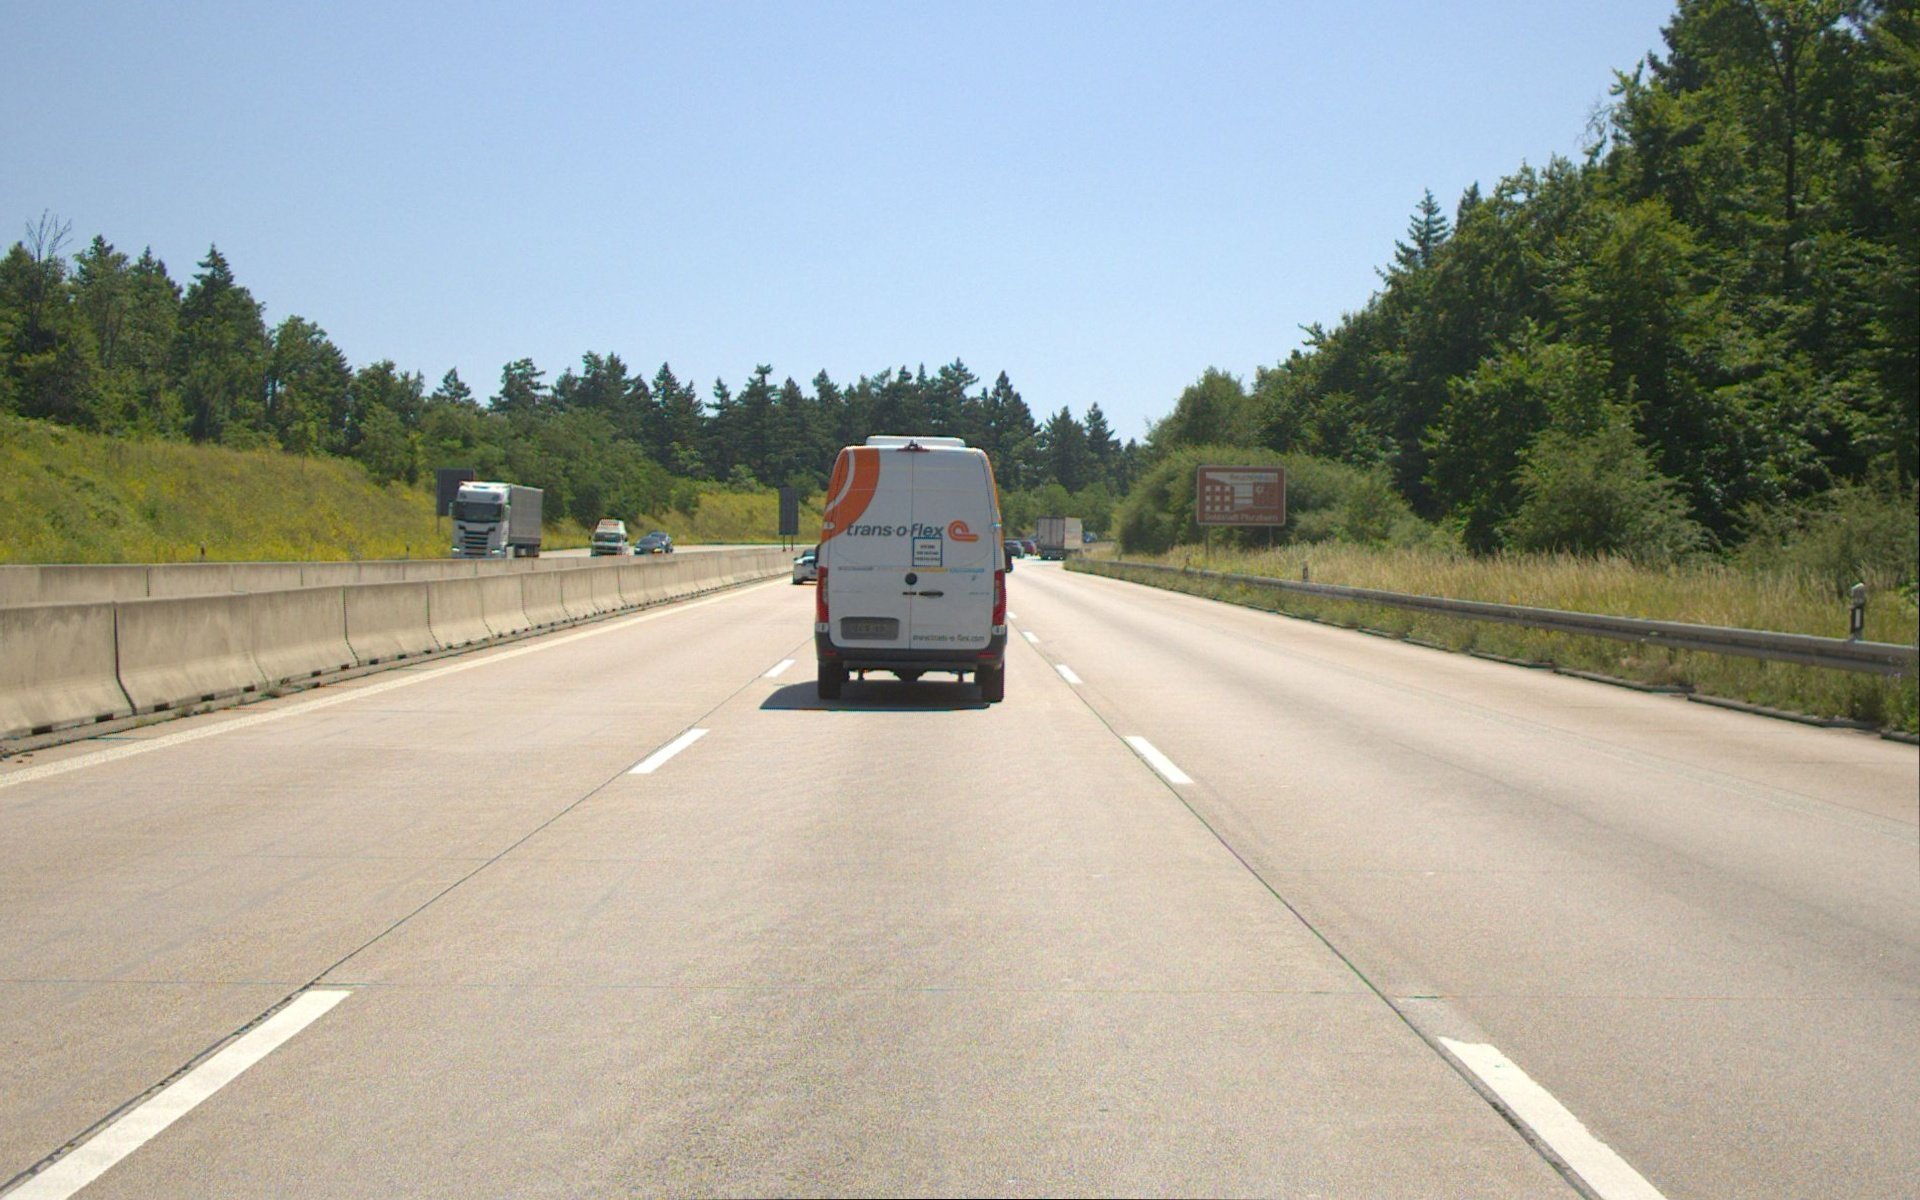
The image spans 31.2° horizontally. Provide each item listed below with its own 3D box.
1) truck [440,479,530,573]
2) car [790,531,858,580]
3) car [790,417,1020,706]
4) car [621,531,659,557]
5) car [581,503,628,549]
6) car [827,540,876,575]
[{"bbox_3d":[-23.481,-3.604,170.185,3.256,4.489,7.985,1,0,0],"label":"truck"},{"bbox_3d":[-4.870,-1.591,123.840,1.994,1.678,3.999,1,0,4],"label":"car"},{"bbox_3d":[-0.587,-0.443,37.203,2.226,2.834,5.454,2,1,-1],"label":"car"},{"bbox_3d":[-20.006,-3.487,214.878,1.993,1.577,4.042,1,1,0],"label":"car"},{"bbox_3d":[-19.716,-4.121,190.702,1.993,2.477,5.179,2,1,0],"label":"car"},{"bbox_3d":[-5.389,-2.116,170.948,1.994,1.678,3.999,1,0,4],"label":"car"}]
